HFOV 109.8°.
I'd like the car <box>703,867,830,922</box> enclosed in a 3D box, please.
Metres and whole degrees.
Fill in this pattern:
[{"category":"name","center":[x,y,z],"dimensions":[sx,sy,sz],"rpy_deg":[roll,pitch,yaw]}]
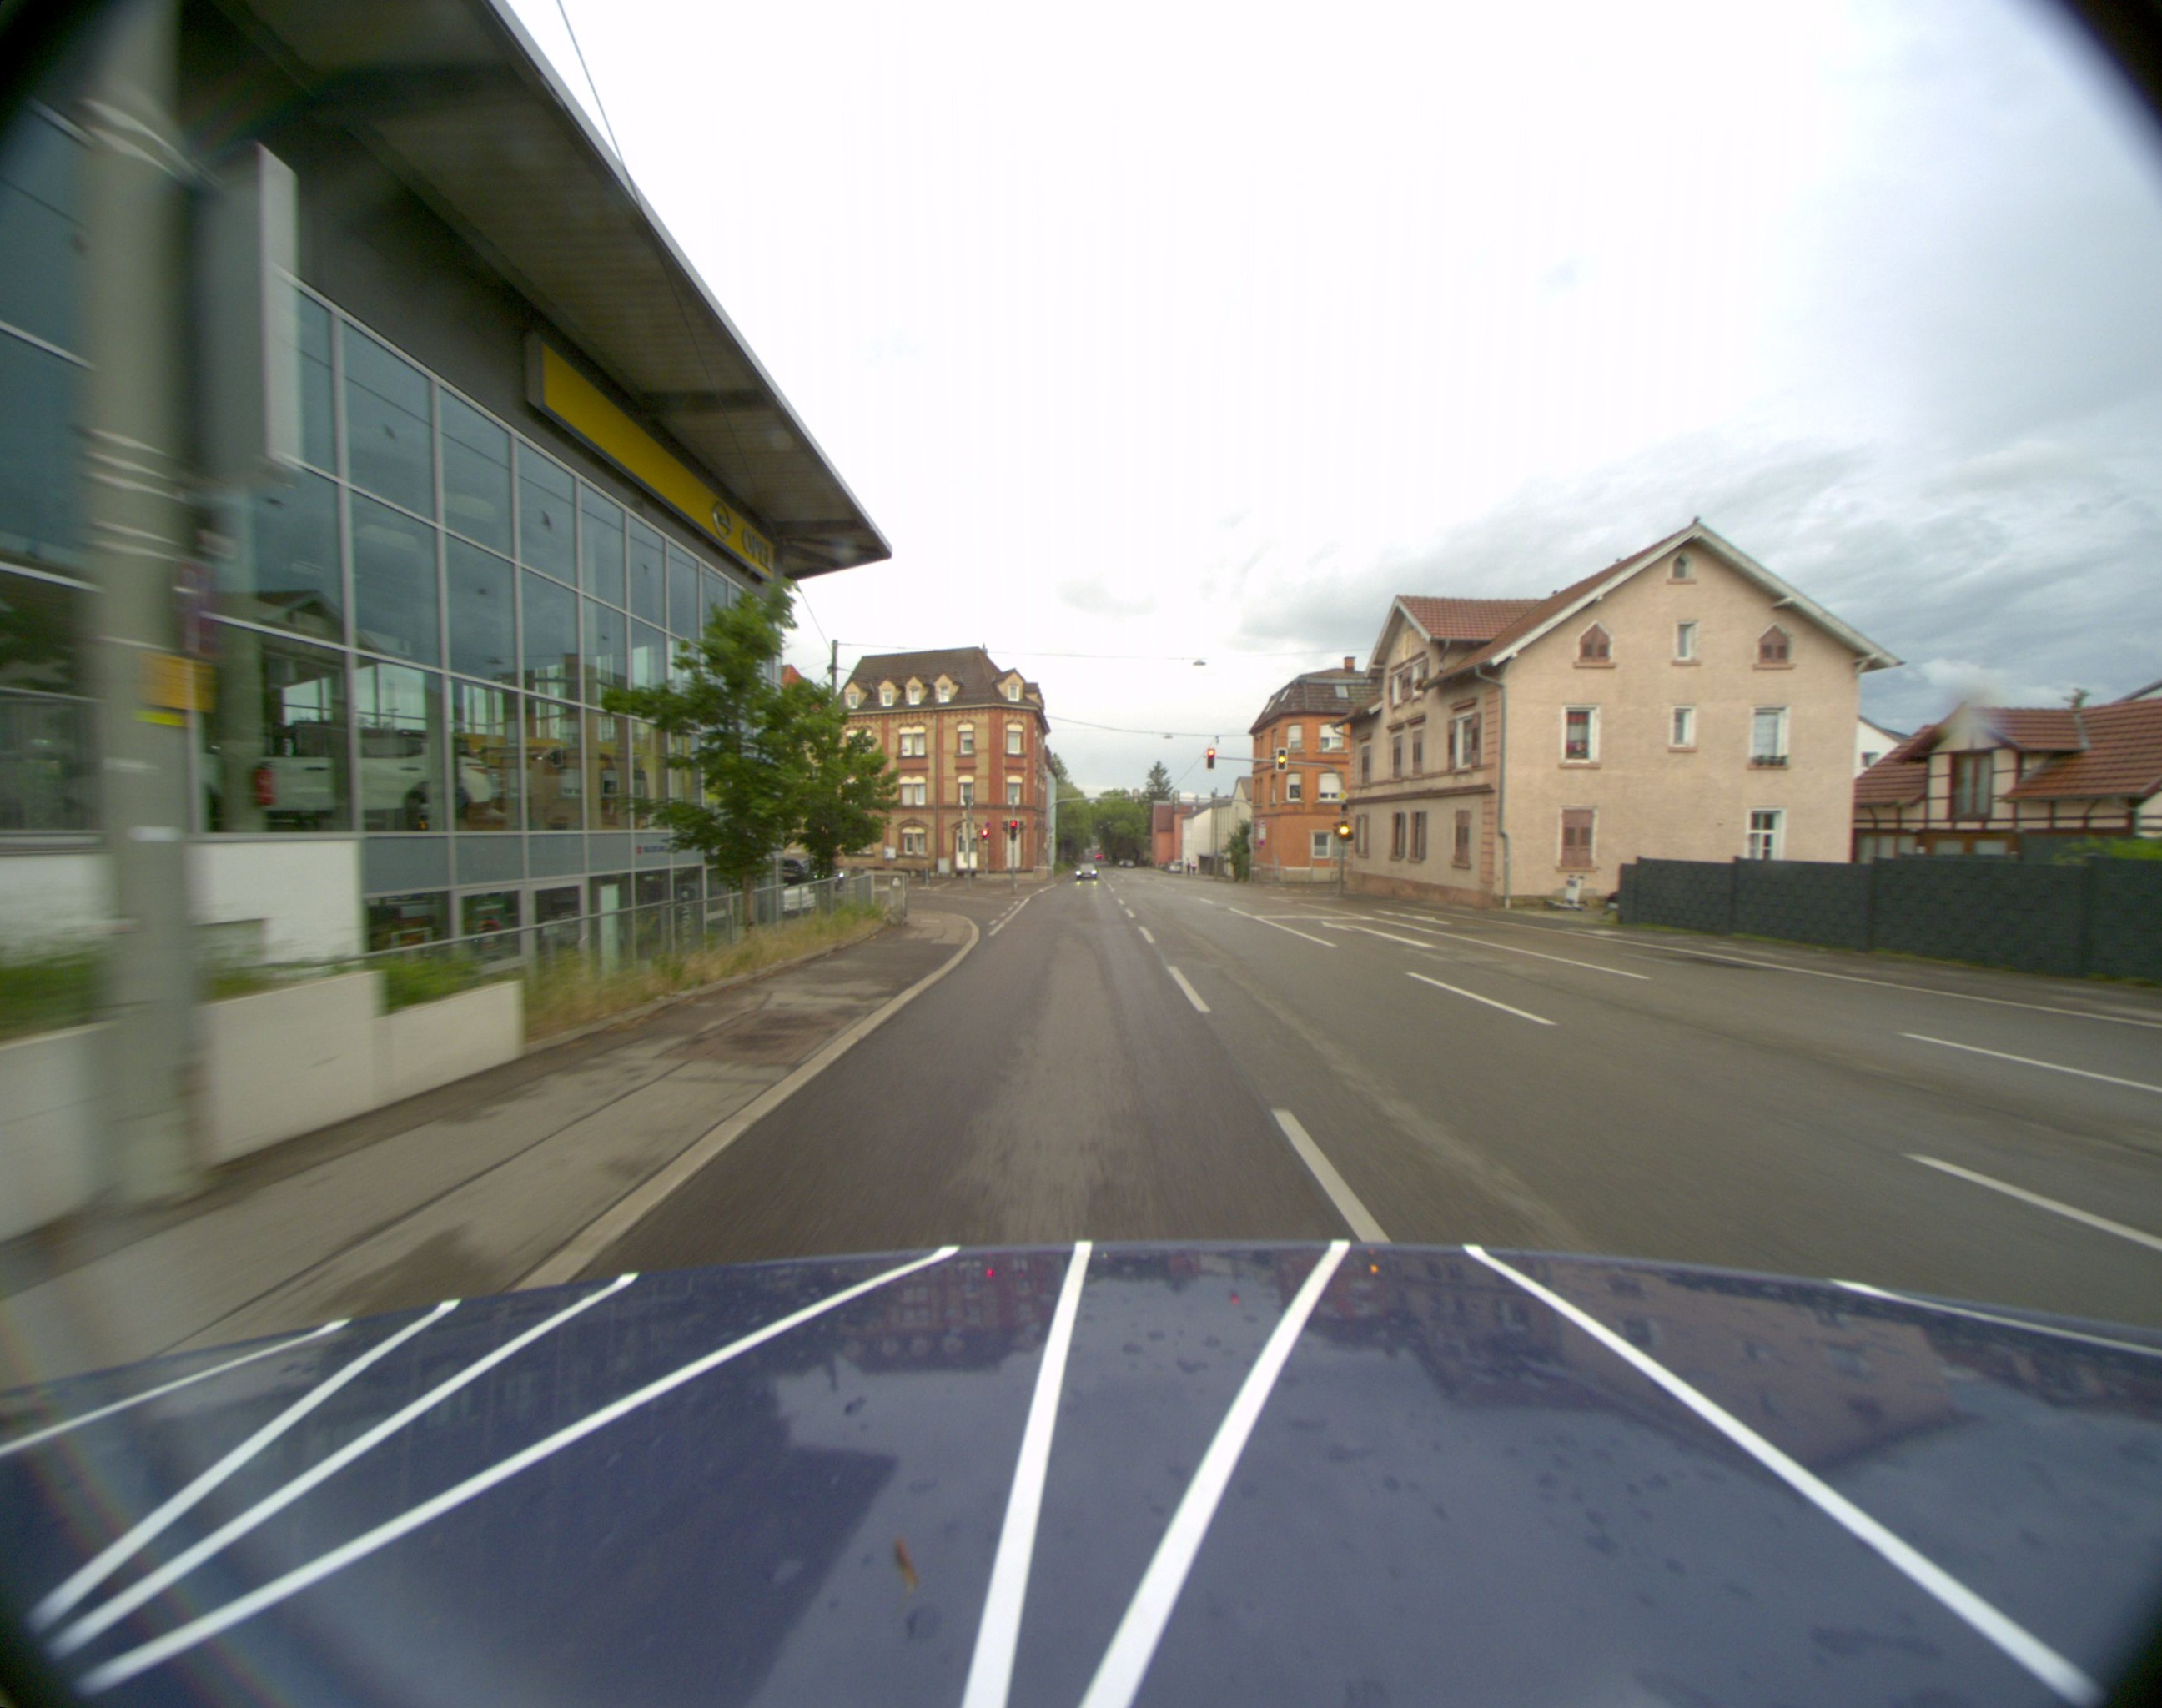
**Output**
[{"category":"car","center":[-10.893,1.339,26.318],"dimensions":[3.989,1.500,1.900],"rpy_deg":[1,5,28]}]

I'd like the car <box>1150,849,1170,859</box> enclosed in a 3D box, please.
[{"category":"car","center":[16.370,-0.065,156.714],"dimensions":[3.994,2.002,2.001],"rpy_deg":[-1,1,8]}]

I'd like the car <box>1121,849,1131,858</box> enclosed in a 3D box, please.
[{"category":"car","center":[8.896,-0.148,150.604],"dimensions":[1.816,1.537,4.198],"rpy_deg":[3,1,0]}]

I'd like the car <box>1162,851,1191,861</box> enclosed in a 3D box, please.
[{"category":"car","center":[16.002,0.327,127.361],"dimensions":[4.542,1.599,2.153],"rpy_deg":[-2,1,3]}]

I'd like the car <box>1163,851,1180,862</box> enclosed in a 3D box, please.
[{"category":"car","center":[13.695,0.388,114.843],"dimensions":[1.750,1.543,4.082],"rpy_deg":[-2,1,-3]}]

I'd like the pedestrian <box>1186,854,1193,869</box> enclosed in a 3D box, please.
[{"category":"pedestrian","center":[12.084,0.862,84.596],"dimensions":[0.641,1.696,0.911],"rpy_deg":[0,1,2]}]

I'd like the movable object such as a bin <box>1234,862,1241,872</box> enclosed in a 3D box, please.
[{"category":"movable object such as a bin","center":[13.566,1.129,65.937],"dimensions":[0.410,0.919,0.525],"rpy_deg":[-1,2,-6]}]

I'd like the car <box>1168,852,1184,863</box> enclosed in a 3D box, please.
[{"category":"car","center":[13.466,0.527,107.477],"dimensions":[1.749,1.499,4.177],"rpy_deg":[0,1,1]}]

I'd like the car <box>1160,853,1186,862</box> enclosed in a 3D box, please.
[{"category":"car","center":[15.671,0.610,129.904],"dimensions":[4.171,1.425,2.000],"rpy_deg":[-2,1,3]}]

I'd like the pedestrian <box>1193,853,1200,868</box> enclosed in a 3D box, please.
[{"category":"pedestrian","center":[12.819,0.720,84.568],"dimensions":[0.641,1.696,0.911],"rpy_deg":[0,1,2]}]

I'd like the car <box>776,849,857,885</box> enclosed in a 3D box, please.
[{"category":"car","center":[-13.504,0.618,38.711],"dimensions":[4.242,1.653,1.808],"rpy_deg":[2,2,36]}]

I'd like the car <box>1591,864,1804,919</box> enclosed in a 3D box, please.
[{"category":"car","center":[14.960,0.886,18.550],"dimensions":[3.998,1.156,1.606],"rpy_deg":[-1,1,-3]}]

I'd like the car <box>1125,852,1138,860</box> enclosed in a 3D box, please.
[{"category":"car","center":[9.215,0.319,139.291],"dimensions":[1.789,1.402,4.197],"rpy_deg":[2,1,-2]}]
